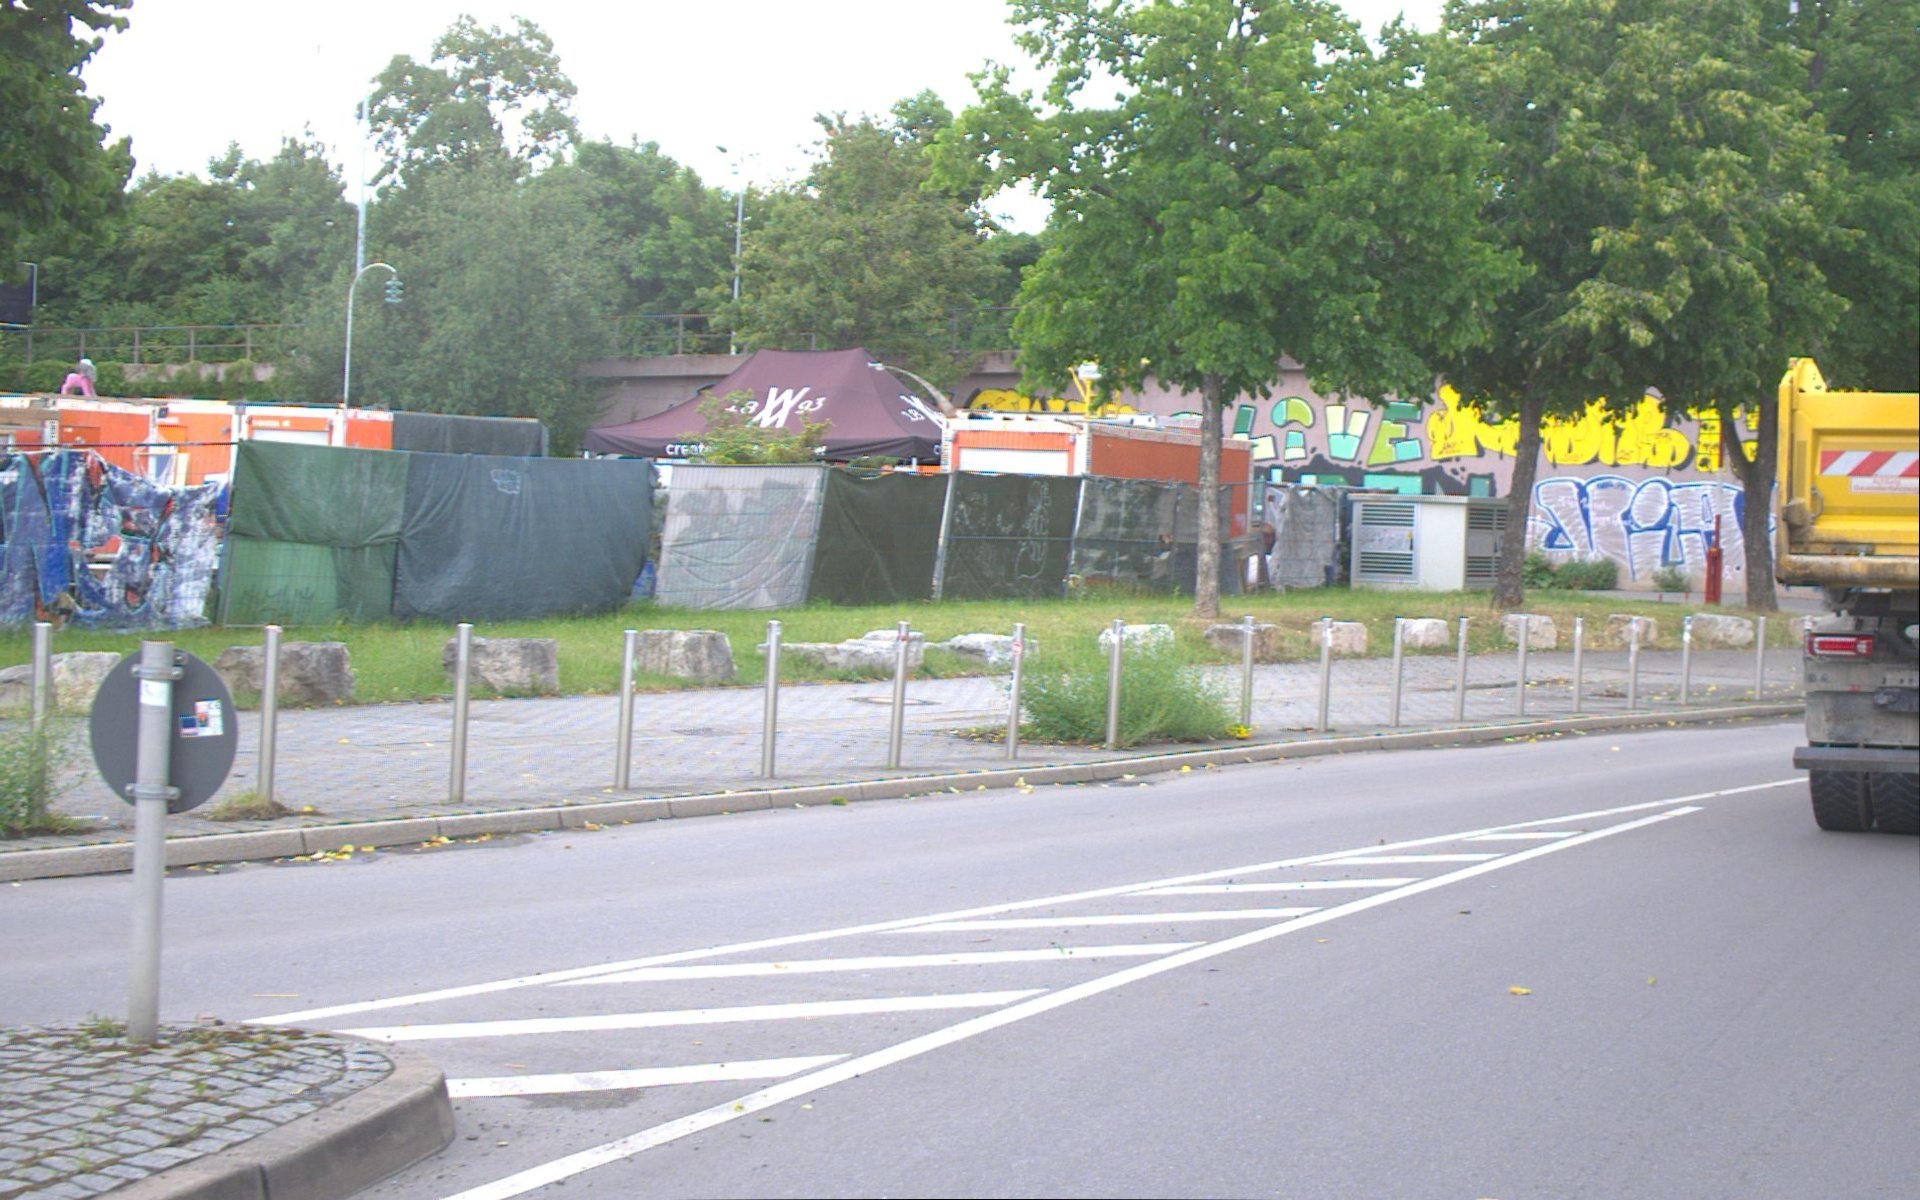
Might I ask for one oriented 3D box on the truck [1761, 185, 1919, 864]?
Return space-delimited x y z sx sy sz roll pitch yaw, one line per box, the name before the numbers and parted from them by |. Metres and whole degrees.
truck | 7.328 -0.426 22.047 2.761 3.685 7.871 3 2 23
